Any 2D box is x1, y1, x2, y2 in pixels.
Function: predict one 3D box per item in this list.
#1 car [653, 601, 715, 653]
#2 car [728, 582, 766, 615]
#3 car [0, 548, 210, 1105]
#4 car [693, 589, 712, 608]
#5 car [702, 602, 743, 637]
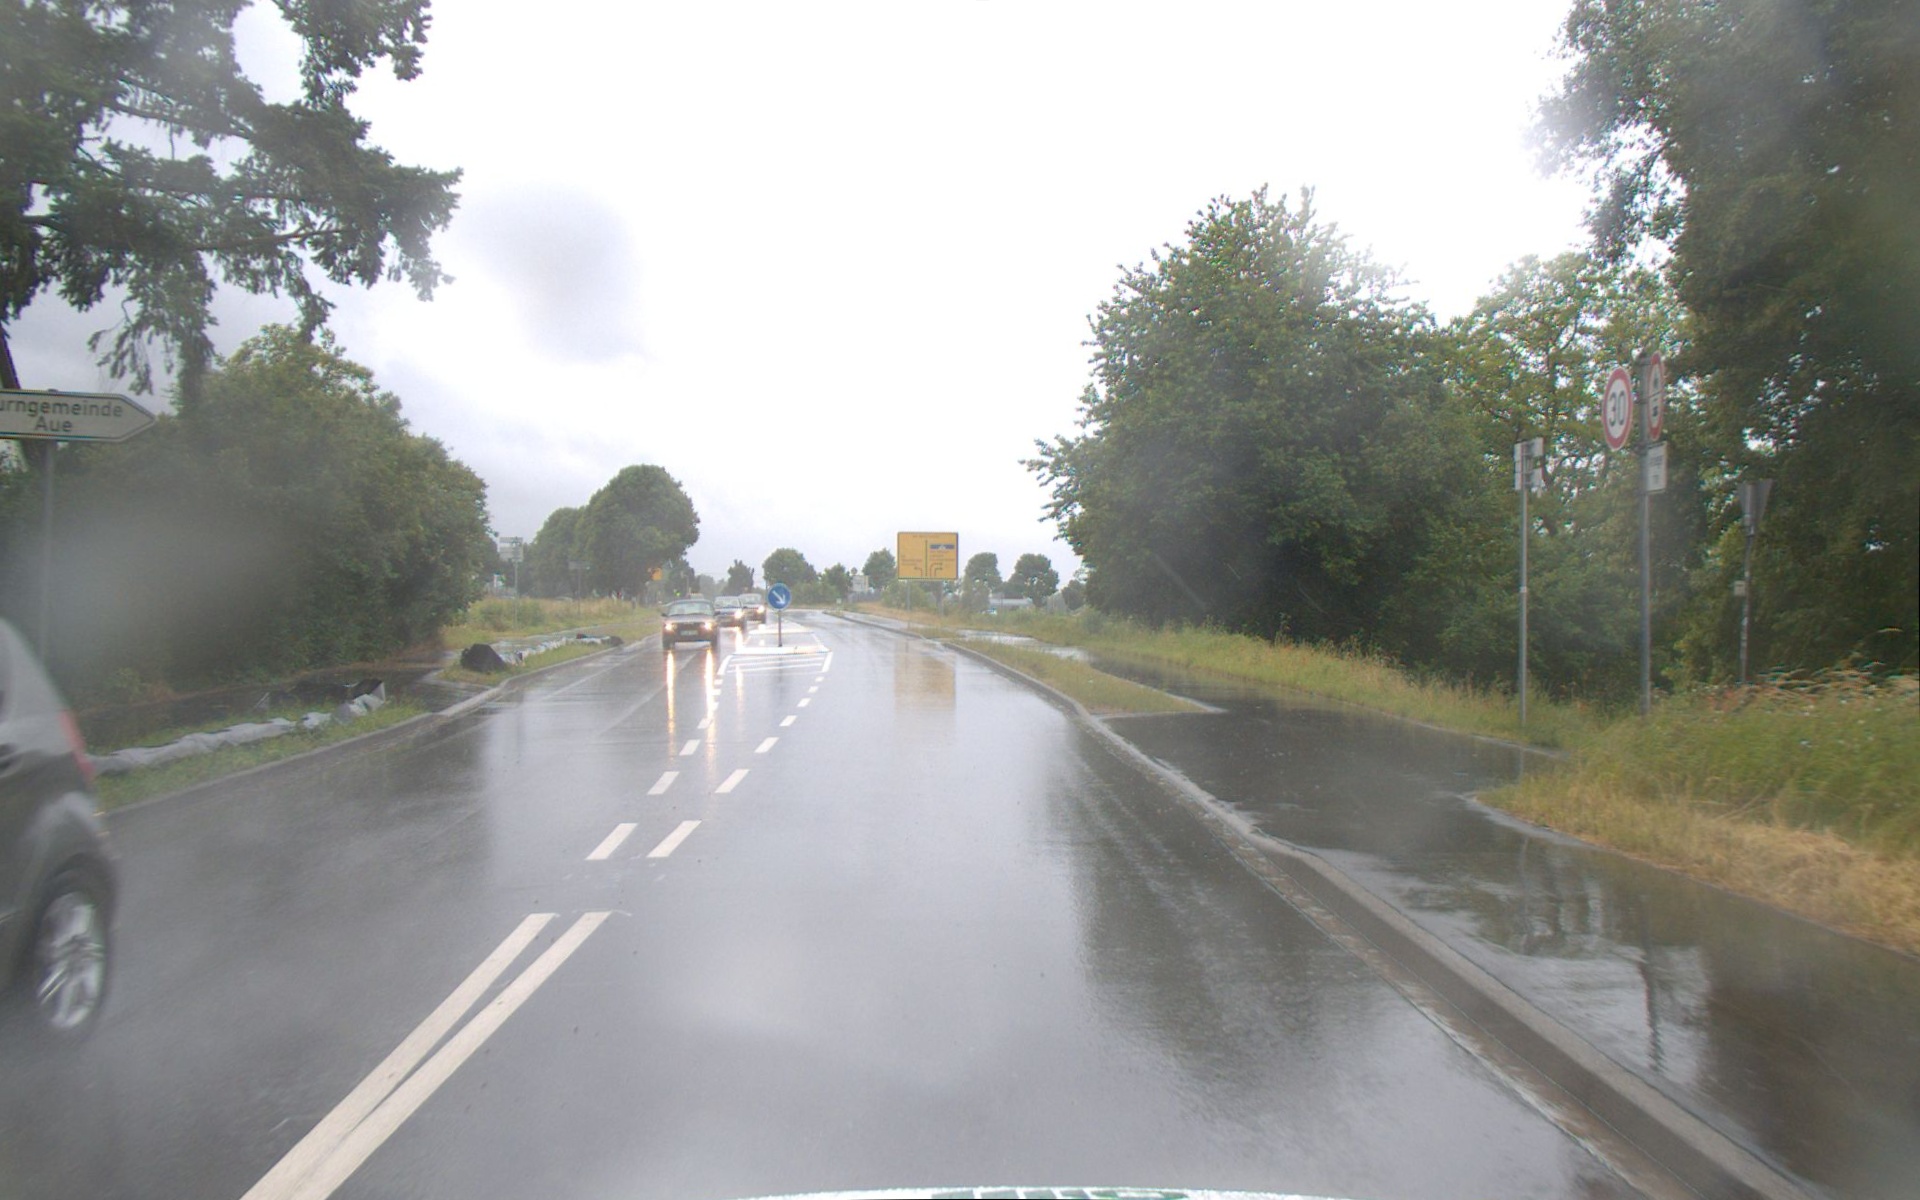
[{"bbox_3d":[-8.274,0.785,49.845,1.651,1.407,4.217,-2,0,-8],"label":"car"},{"bbox_3d":[-11.989,-0.100,92.910,1.711,1.748,4.253,-2,0,-12],"label":"car"},{"bbox_3d":[-3.570,0.665,4.156,1.725,1.579,3.997,-1,0,-4],"label":"car"},{"bbox_3d":[-28.997,-0.147,186.375,1.957,2.007,4.947,3,0,-9],"label":"car"},{"bbox_3d":[-10.670,0.842,74.307,1.709,1.471,3.675,-2,0,-8],"label":"car"}]
